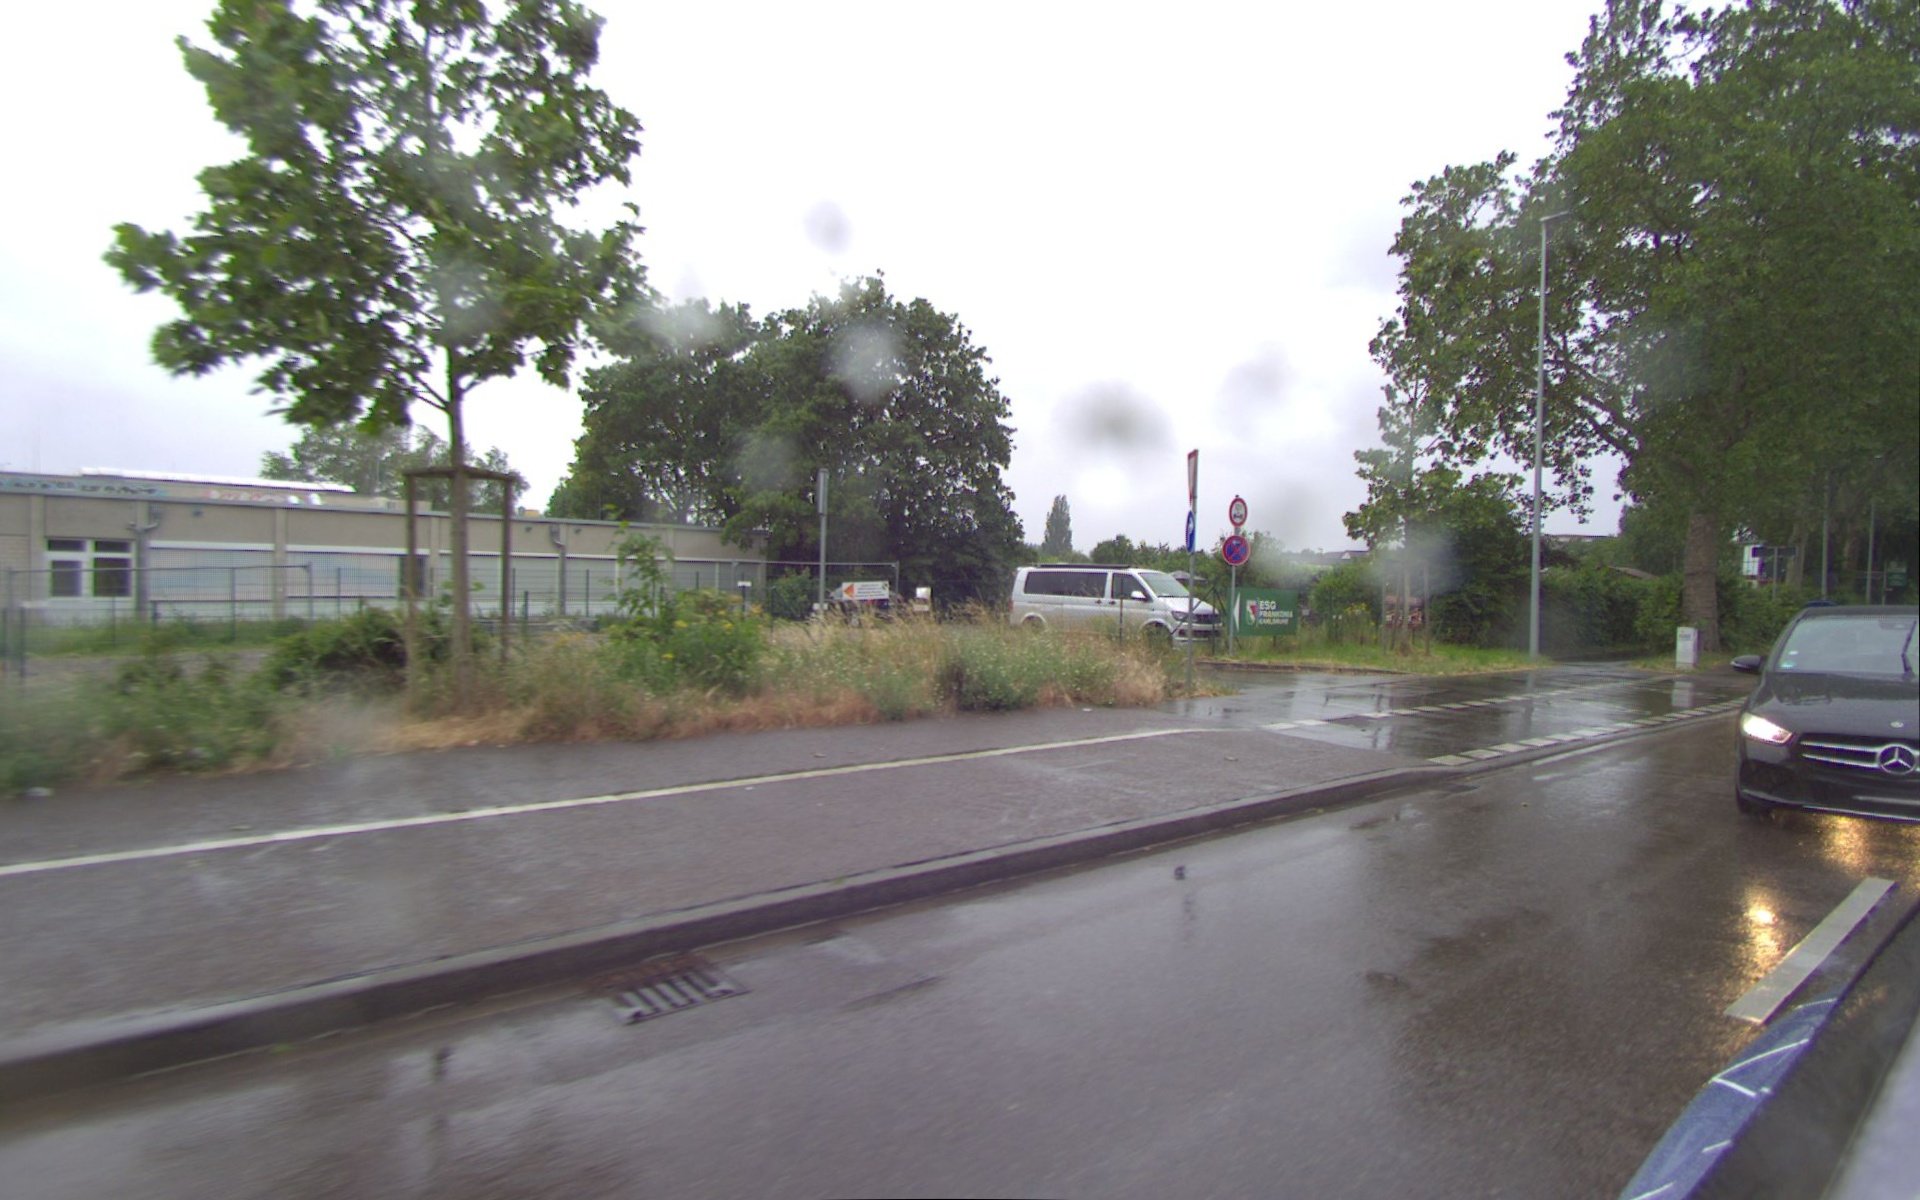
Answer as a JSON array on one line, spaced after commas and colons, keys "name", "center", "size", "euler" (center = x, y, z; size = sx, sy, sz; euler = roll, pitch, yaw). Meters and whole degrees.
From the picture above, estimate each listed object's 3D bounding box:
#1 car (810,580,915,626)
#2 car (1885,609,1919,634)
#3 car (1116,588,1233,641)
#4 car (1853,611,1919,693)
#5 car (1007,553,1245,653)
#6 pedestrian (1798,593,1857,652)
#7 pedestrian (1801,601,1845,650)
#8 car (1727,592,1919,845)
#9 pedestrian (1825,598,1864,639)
[{"name": "car", "center": [-3.729, 0.092, 38.304], "size": [1.967, 1.638, 3.990], "euler": [0, 0, -43]}, {"name": "car", "center": [59.600, 1.364, 62.531], "size": [1.628, 1.516, 3.388], "euler": [3, -1, -39]}, {"name": "car", "center": [7.632, 0.534, 35.867], "size": [3.927, 1.639, 1.998], "euler": [4, -3, -39]}, {"name": "car", "center": [18.383, 0.950, 19.330], "size": [3.718, 1.402, 1.639], "euler": [0, 0, -43]}, {"name": "car", "center": [3.687, 0.053, 23.248], "size": [5.250, 2.039, 1.968], "euler": [0, 0, 44]}, {"name": "pedestrian", "center": [28.304, 0.727, 33.022], "size": [1.127, 1.807, 1.242], "euler": [1, 3, -42]}, {"name": "pedestrian", "center": [29.776, 0.865, 34.897], "size": [1.272, 1.608, 0.948], "euler": [0, 2, -42]}, {"name": "car", "center": [7.359, 0.731, 7.811], "size": [1.816, 1.549, 4.352], "euler": [0, 0, 44]}, {"name": "pedestrian", "center": [31.938, 0.667, 36.529], "size": [0.999, 1.407, 0.894], "euler": [1, 3, -42]}]
